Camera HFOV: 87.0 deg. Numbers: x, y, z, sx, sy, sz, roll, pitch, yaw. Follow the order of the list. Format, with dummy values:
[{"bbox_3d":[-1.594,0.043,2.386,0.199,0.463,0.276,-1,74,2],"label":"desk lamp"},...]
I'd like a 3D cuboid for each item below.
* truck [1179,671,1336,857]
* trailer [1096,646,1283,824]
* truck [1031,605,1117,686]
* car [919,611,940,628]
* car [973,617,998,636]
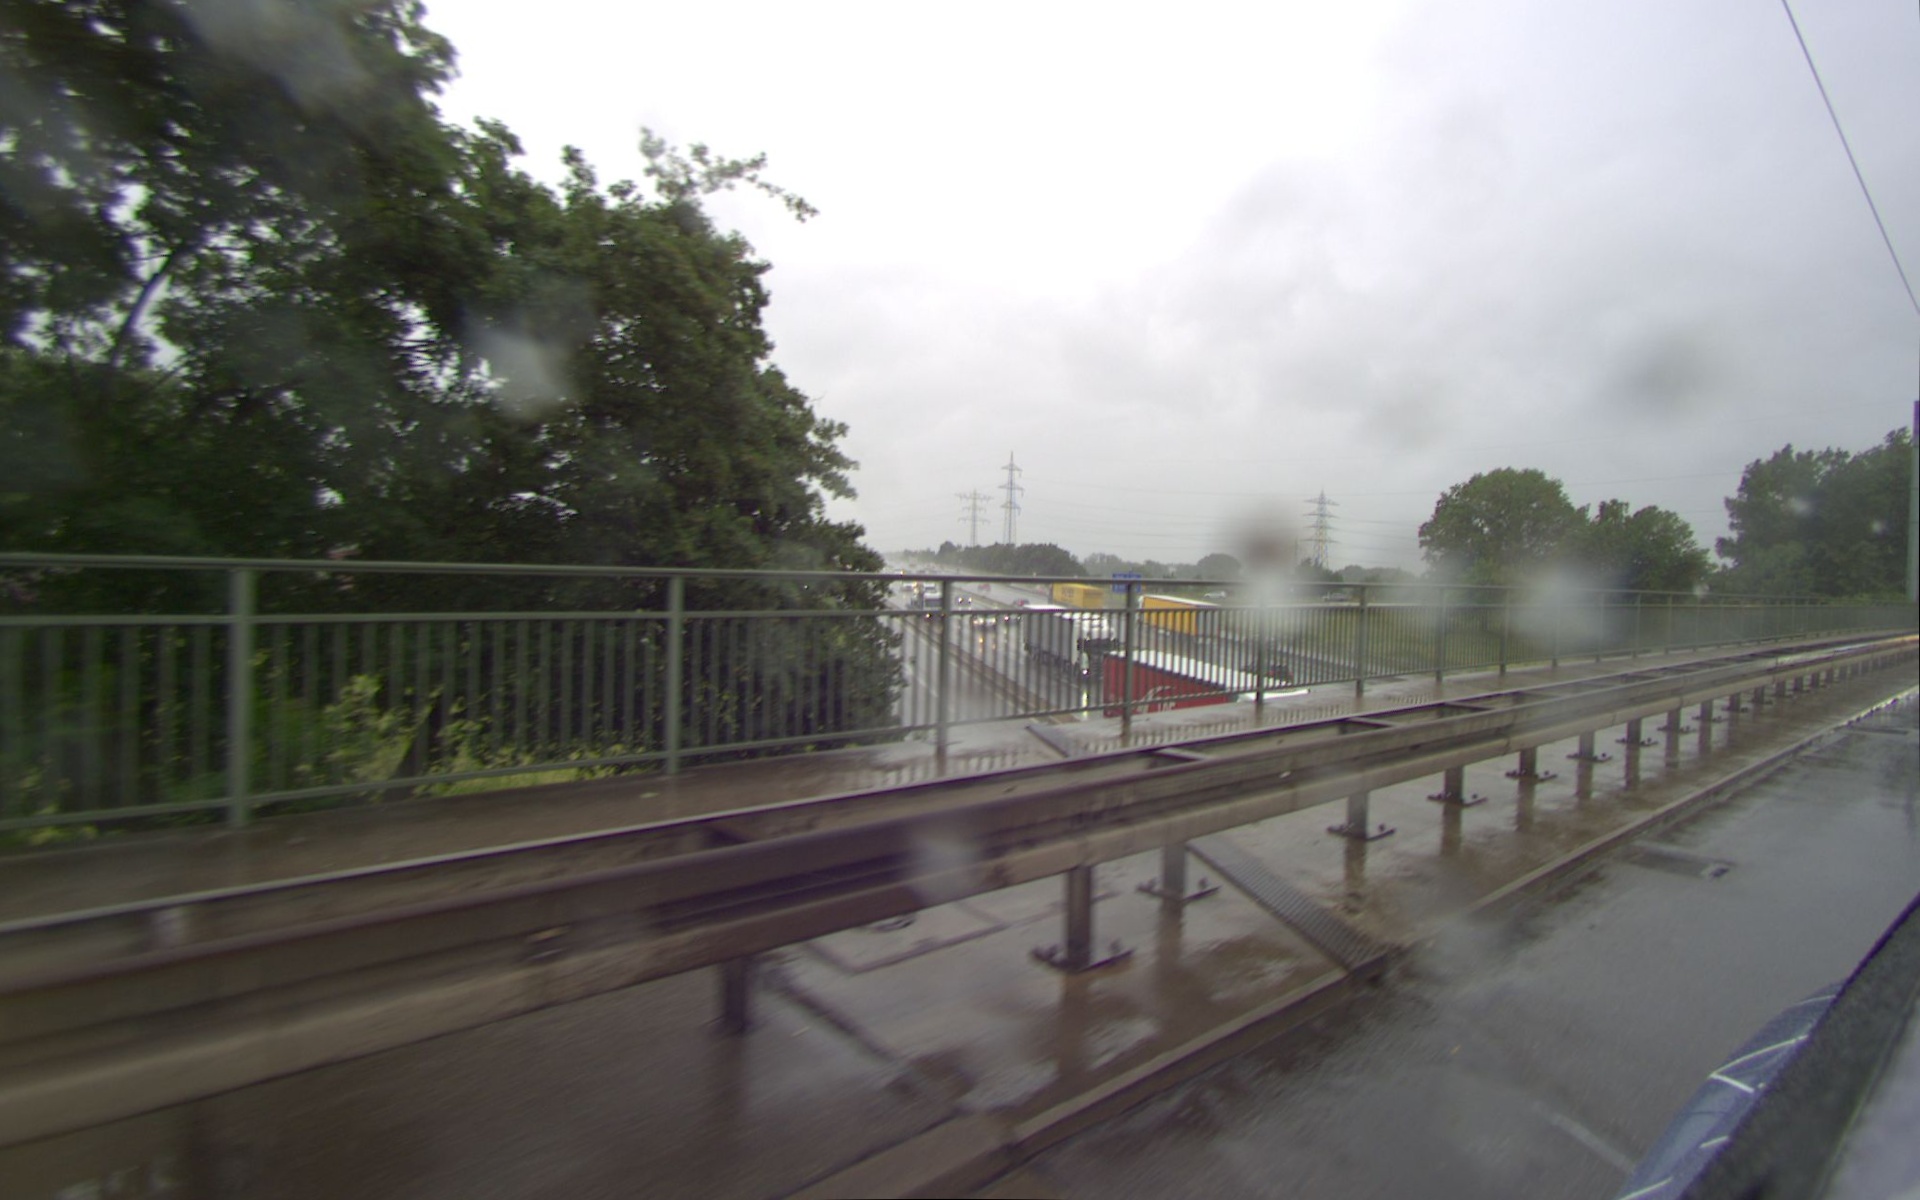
[{"bbox_3d":[10.110,5.408,35.088,3.079,5.177,5.816,0,2,-7],"label":"truck"},{"bbox_3d":[9.106,5.094,42.883,3.079,5.009,13.871,0,3,-8],"label":"trailer"},{"bbox_3d":[7.783,2.978,71.198,3.079,4.497,12.404,0,3,-8],"label":"truck"},{"bbox_3d":[-3.458,2.219,113.919,1.832,1.857,3.875,1,0,-8],"label":"car"},{"bbox_3d":[2.612,2.676,103.571,1.887,1.781,3.876,1,0,-8],"label":"car"}]
